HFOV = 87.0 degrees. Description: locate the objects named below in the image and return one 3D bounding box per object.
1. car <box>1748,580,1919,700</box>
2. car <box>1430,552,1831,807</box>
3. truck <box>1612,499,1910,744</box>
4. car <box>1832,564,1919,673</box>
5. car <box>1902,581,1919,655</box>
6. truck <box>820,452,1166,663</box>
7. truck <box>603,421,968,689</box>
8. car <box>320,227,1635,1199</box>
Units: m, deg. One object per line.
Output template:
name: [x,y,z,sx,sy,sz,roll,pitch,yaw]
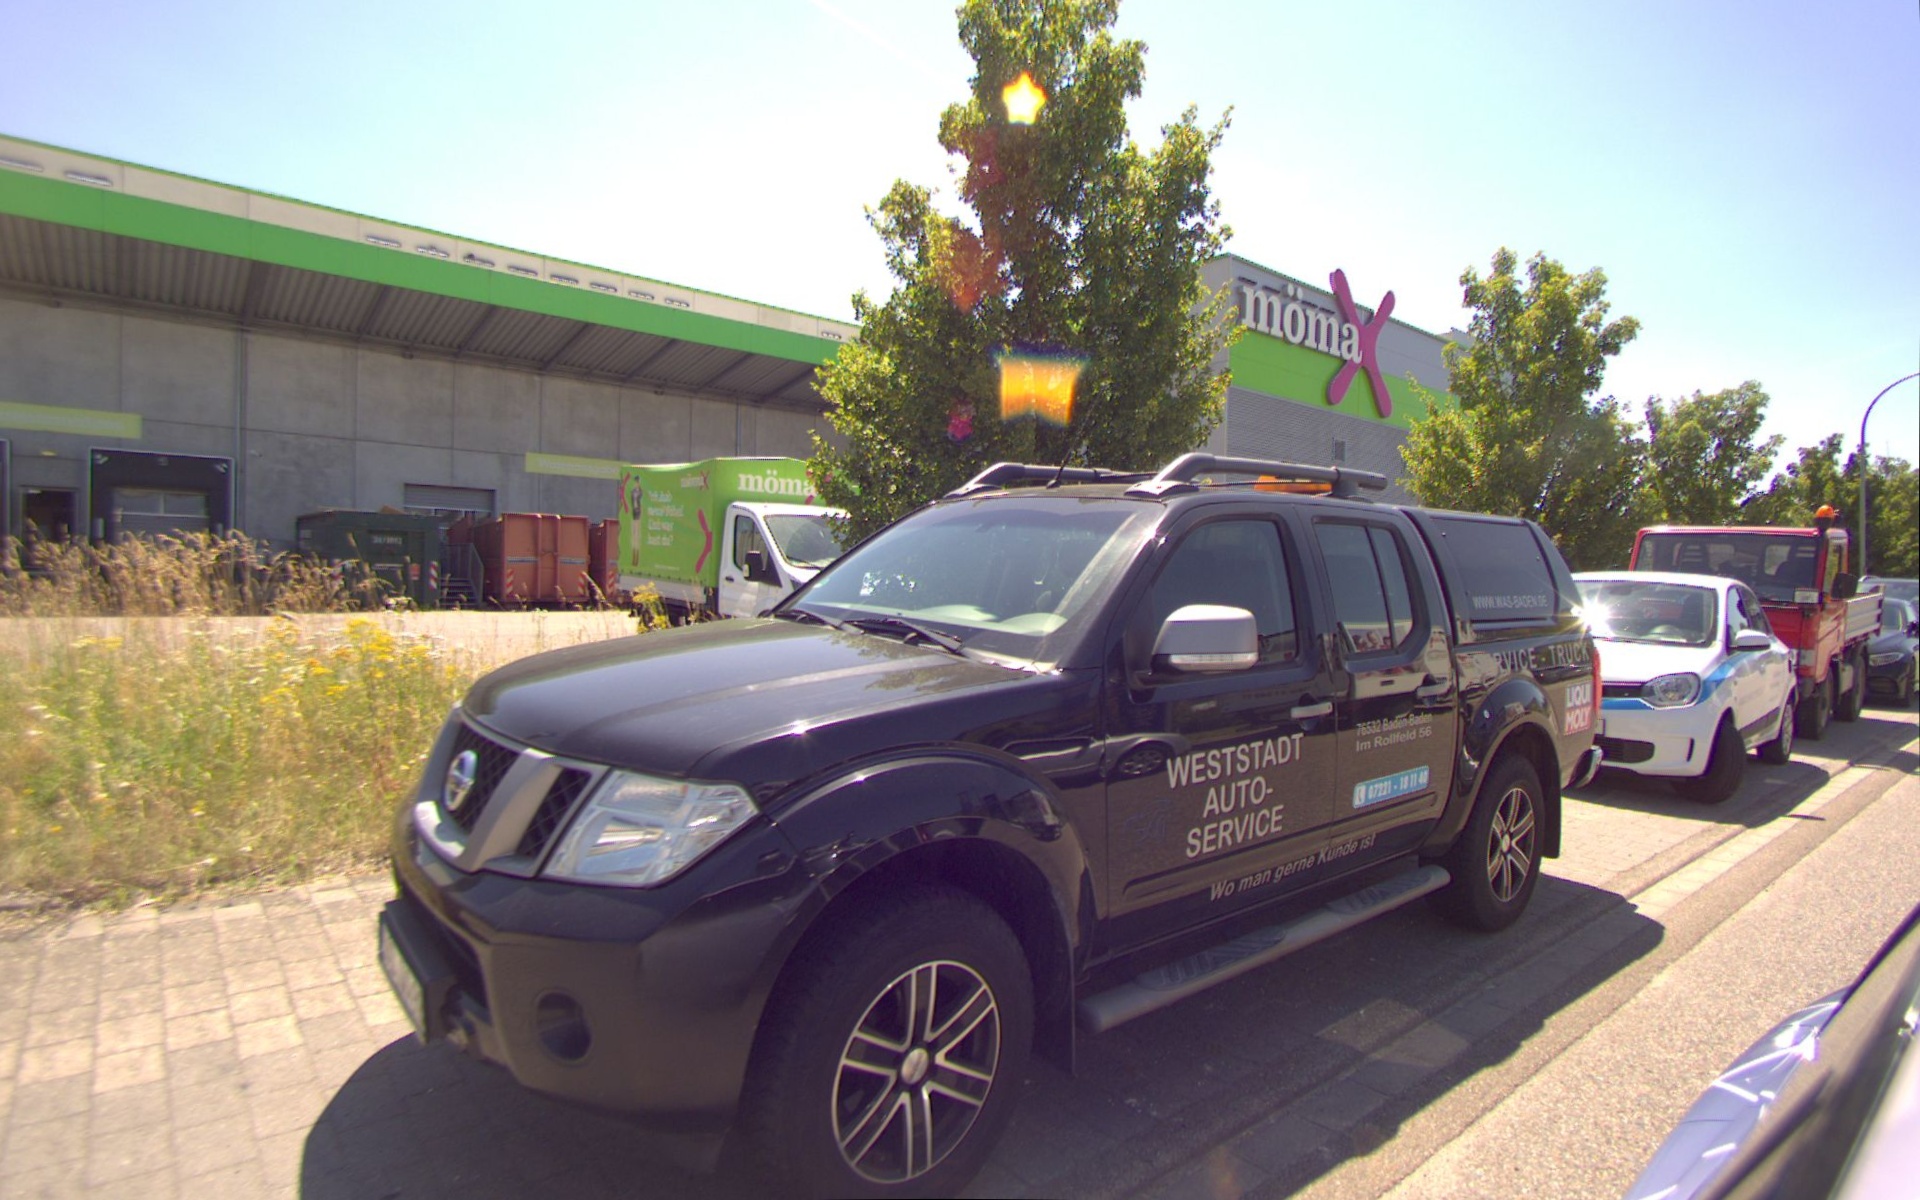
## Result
car: [13.133,0.470,14.664,4.751,1.400,1.702,0,4,-40]
car: [5.636,0.461,8.320,3.931,1.549,1.742,0,4,-42]
truck: [8.925,0.129,11.145,4.313,2.207,1.683,0,4,-41]
car: [17.480,0.330,18.274,4.688,1.746,1.816,0,3,-40]
car: [21.683,0.418,21.763,4.693,1.501,1.716,0,3,-43]
truck: [0.297,-0.721,16.873,2.267,2.907,5.911,0,3,-42]
truck: [-2.709,-0.628,14.132,2.372,2.949,5.834,0,2,-40]
car: [0.605,0.318,3.971,5.064,1.907,1.998,0,3,-40]
